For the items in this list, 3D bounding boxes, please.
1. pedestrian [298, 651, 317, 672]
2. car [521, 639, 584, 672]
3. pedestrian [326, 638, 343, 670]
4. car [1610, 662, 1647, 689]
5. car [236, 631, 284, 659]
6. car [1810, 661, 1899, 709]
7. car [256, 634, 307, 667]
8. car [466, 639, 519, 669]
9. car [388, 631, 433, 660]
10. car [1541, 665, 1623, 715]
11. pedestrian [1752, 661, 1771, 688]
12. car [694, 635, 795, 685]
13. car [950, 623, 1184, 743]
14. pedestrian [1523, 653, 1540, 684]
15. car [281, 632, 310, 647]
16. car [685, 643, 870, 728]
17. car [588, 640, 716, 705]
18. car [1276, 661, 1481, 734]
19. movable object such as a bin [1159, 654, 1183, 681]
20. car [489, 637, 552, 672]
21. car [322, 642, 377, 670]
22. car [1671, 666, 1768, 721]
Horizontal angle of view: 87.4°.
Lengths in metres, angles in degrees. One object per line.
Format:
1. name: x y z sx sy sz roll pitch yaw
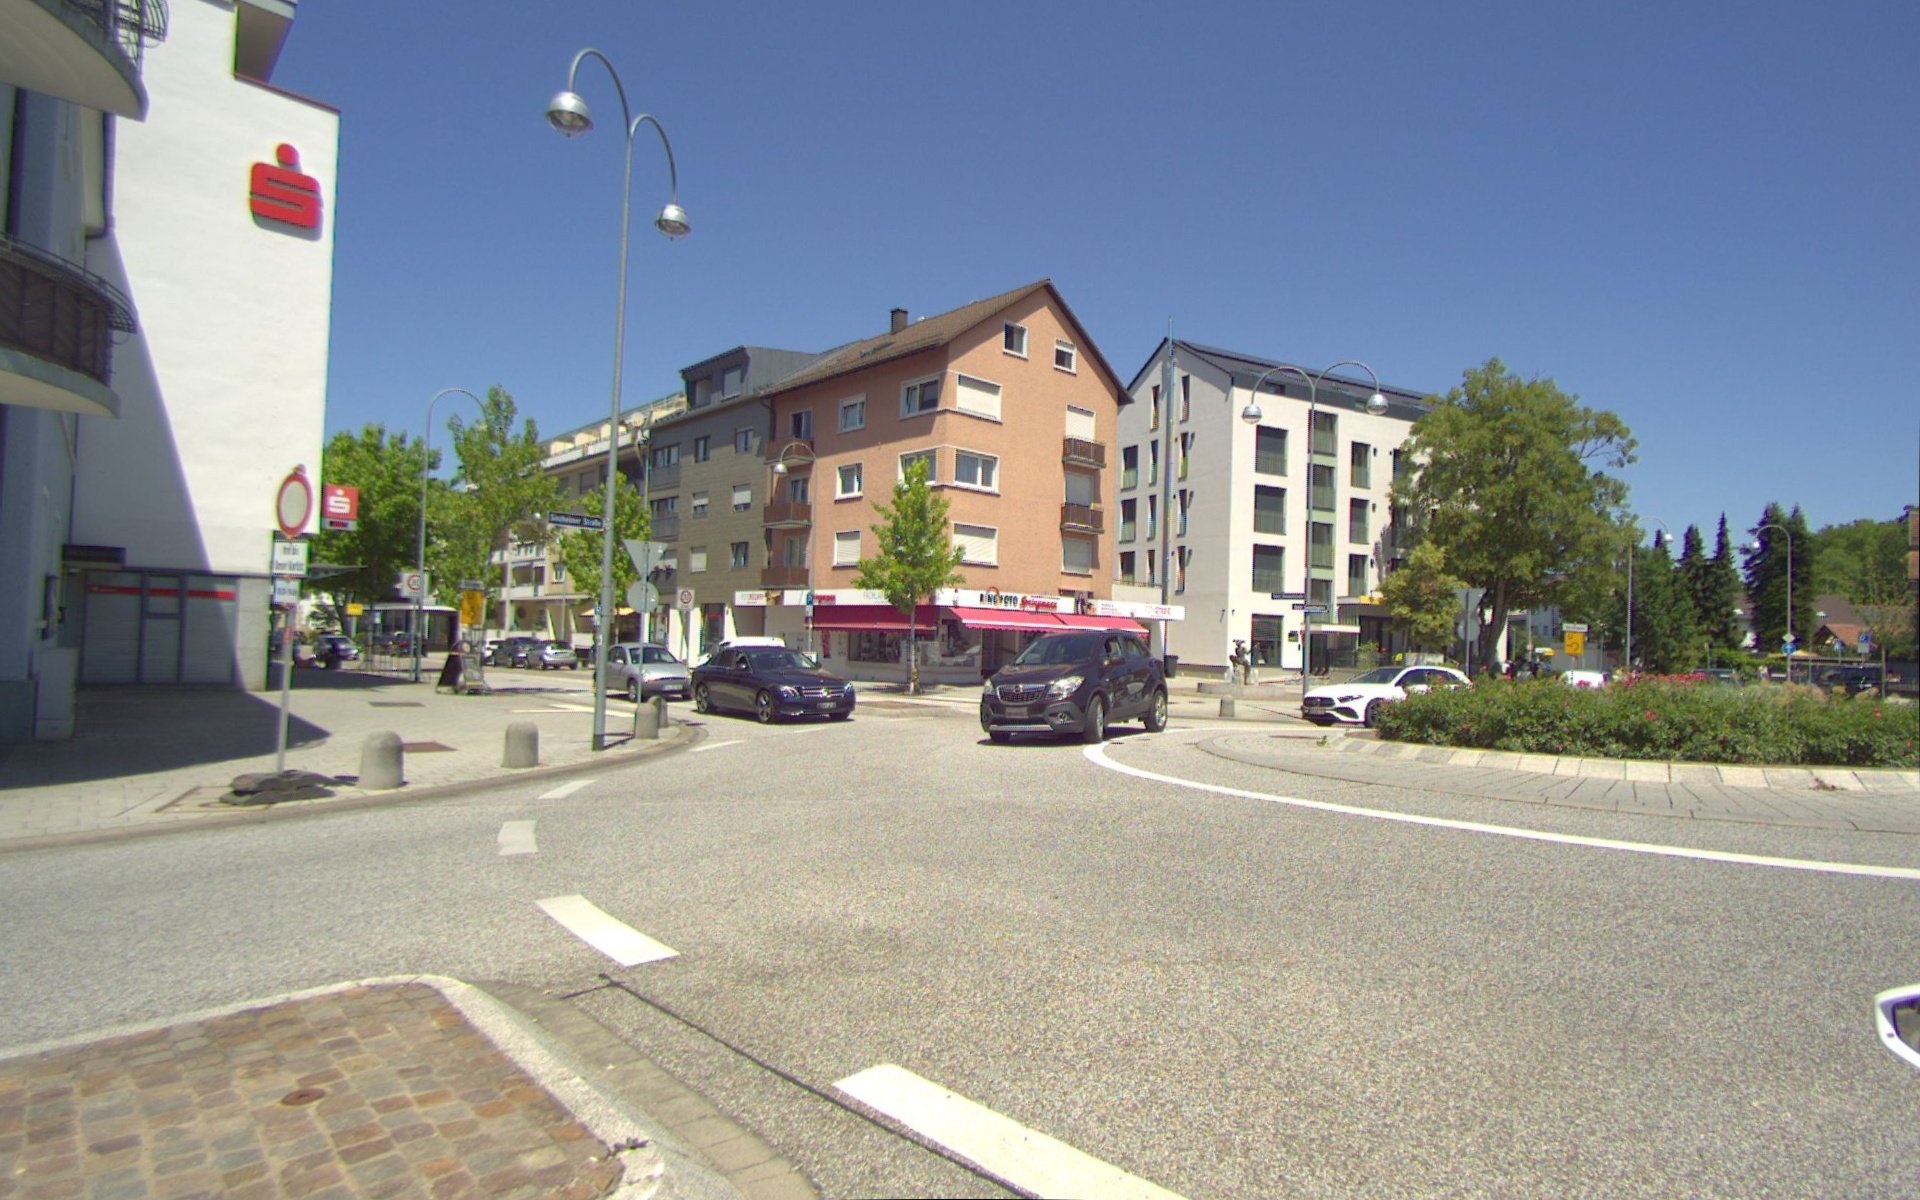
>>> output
1. pedestrian: -28.210 2.647 43.454 0.660 0.869 0.726 2 -6 -33
2. car: -20.180 2.696 49.648 1.734 1.570 3.897 2 -3 -41
3. pedestrian: -26.872 2.311 43.159 0.563 1.390 0.661 2 -3 -33
4. car: 46.328 5.185 69.555 1.968 1.710 4.512 0 -3 36
5. car: -44.495 2.844 63.780 1.818 1.640 4.336 6 -4 -43
6. car: 42.961 4.036 48.372 1.962 1.890 4.283 2 0 25
7. car: -40.539 2.998 59.975 1.723 1.762 4.336 7 -6 -43
8. car: -26.837 3.060 57.578 1.714 1.604 4.176 2 -2 -40
9. car: -38.925 3.198 71.113 1.984 1.822 4.515 2 -1 -40
10. car: 22.654 3.221 36.532 1.776 1.611 3.979 2 -1 42
11. pedestrian: 55.428 5.142 69.448 0.829 1.838 0.549 2 0 19
12. car: -8.260 2.252 38.429 3.849 1.747 1.746 -1 -2 38
13. car: 1.795 1.250 15.559 1.966 1.582 4.157 -3 -4 32
14. pedestrian: 28.325 3.385 49.785 0.549 1.504 0.528 3 -3 -28
15. car: -69.628 4.089 105.236 1.968 1.469 4.296 1 -1 -42
16. car: -3.954 1.690 21.100 1.981 1.497 4.661 2 -2 -36
17. car: -8.063 1.826 26.124 1.842 1.497 3.865 2 -2 -39
18. car: 9.437 2.142 22.639 4.230 1.400 1.921 0 -3 -26
19. movable object such as a bin: 9.820 3.129 46.688 0.750 1.170 0.769 2 0 -25
20. car: -23.440 2.870 53.480 1.756 1.728 4.648 2 -2 -41
21. car: -37.664 3.449 61.948 1.985 1.613 4.938 4 -4 -41
22. car: 26.271 3.195 34.709 4.496 1.710 1.975 4 -4 -44
